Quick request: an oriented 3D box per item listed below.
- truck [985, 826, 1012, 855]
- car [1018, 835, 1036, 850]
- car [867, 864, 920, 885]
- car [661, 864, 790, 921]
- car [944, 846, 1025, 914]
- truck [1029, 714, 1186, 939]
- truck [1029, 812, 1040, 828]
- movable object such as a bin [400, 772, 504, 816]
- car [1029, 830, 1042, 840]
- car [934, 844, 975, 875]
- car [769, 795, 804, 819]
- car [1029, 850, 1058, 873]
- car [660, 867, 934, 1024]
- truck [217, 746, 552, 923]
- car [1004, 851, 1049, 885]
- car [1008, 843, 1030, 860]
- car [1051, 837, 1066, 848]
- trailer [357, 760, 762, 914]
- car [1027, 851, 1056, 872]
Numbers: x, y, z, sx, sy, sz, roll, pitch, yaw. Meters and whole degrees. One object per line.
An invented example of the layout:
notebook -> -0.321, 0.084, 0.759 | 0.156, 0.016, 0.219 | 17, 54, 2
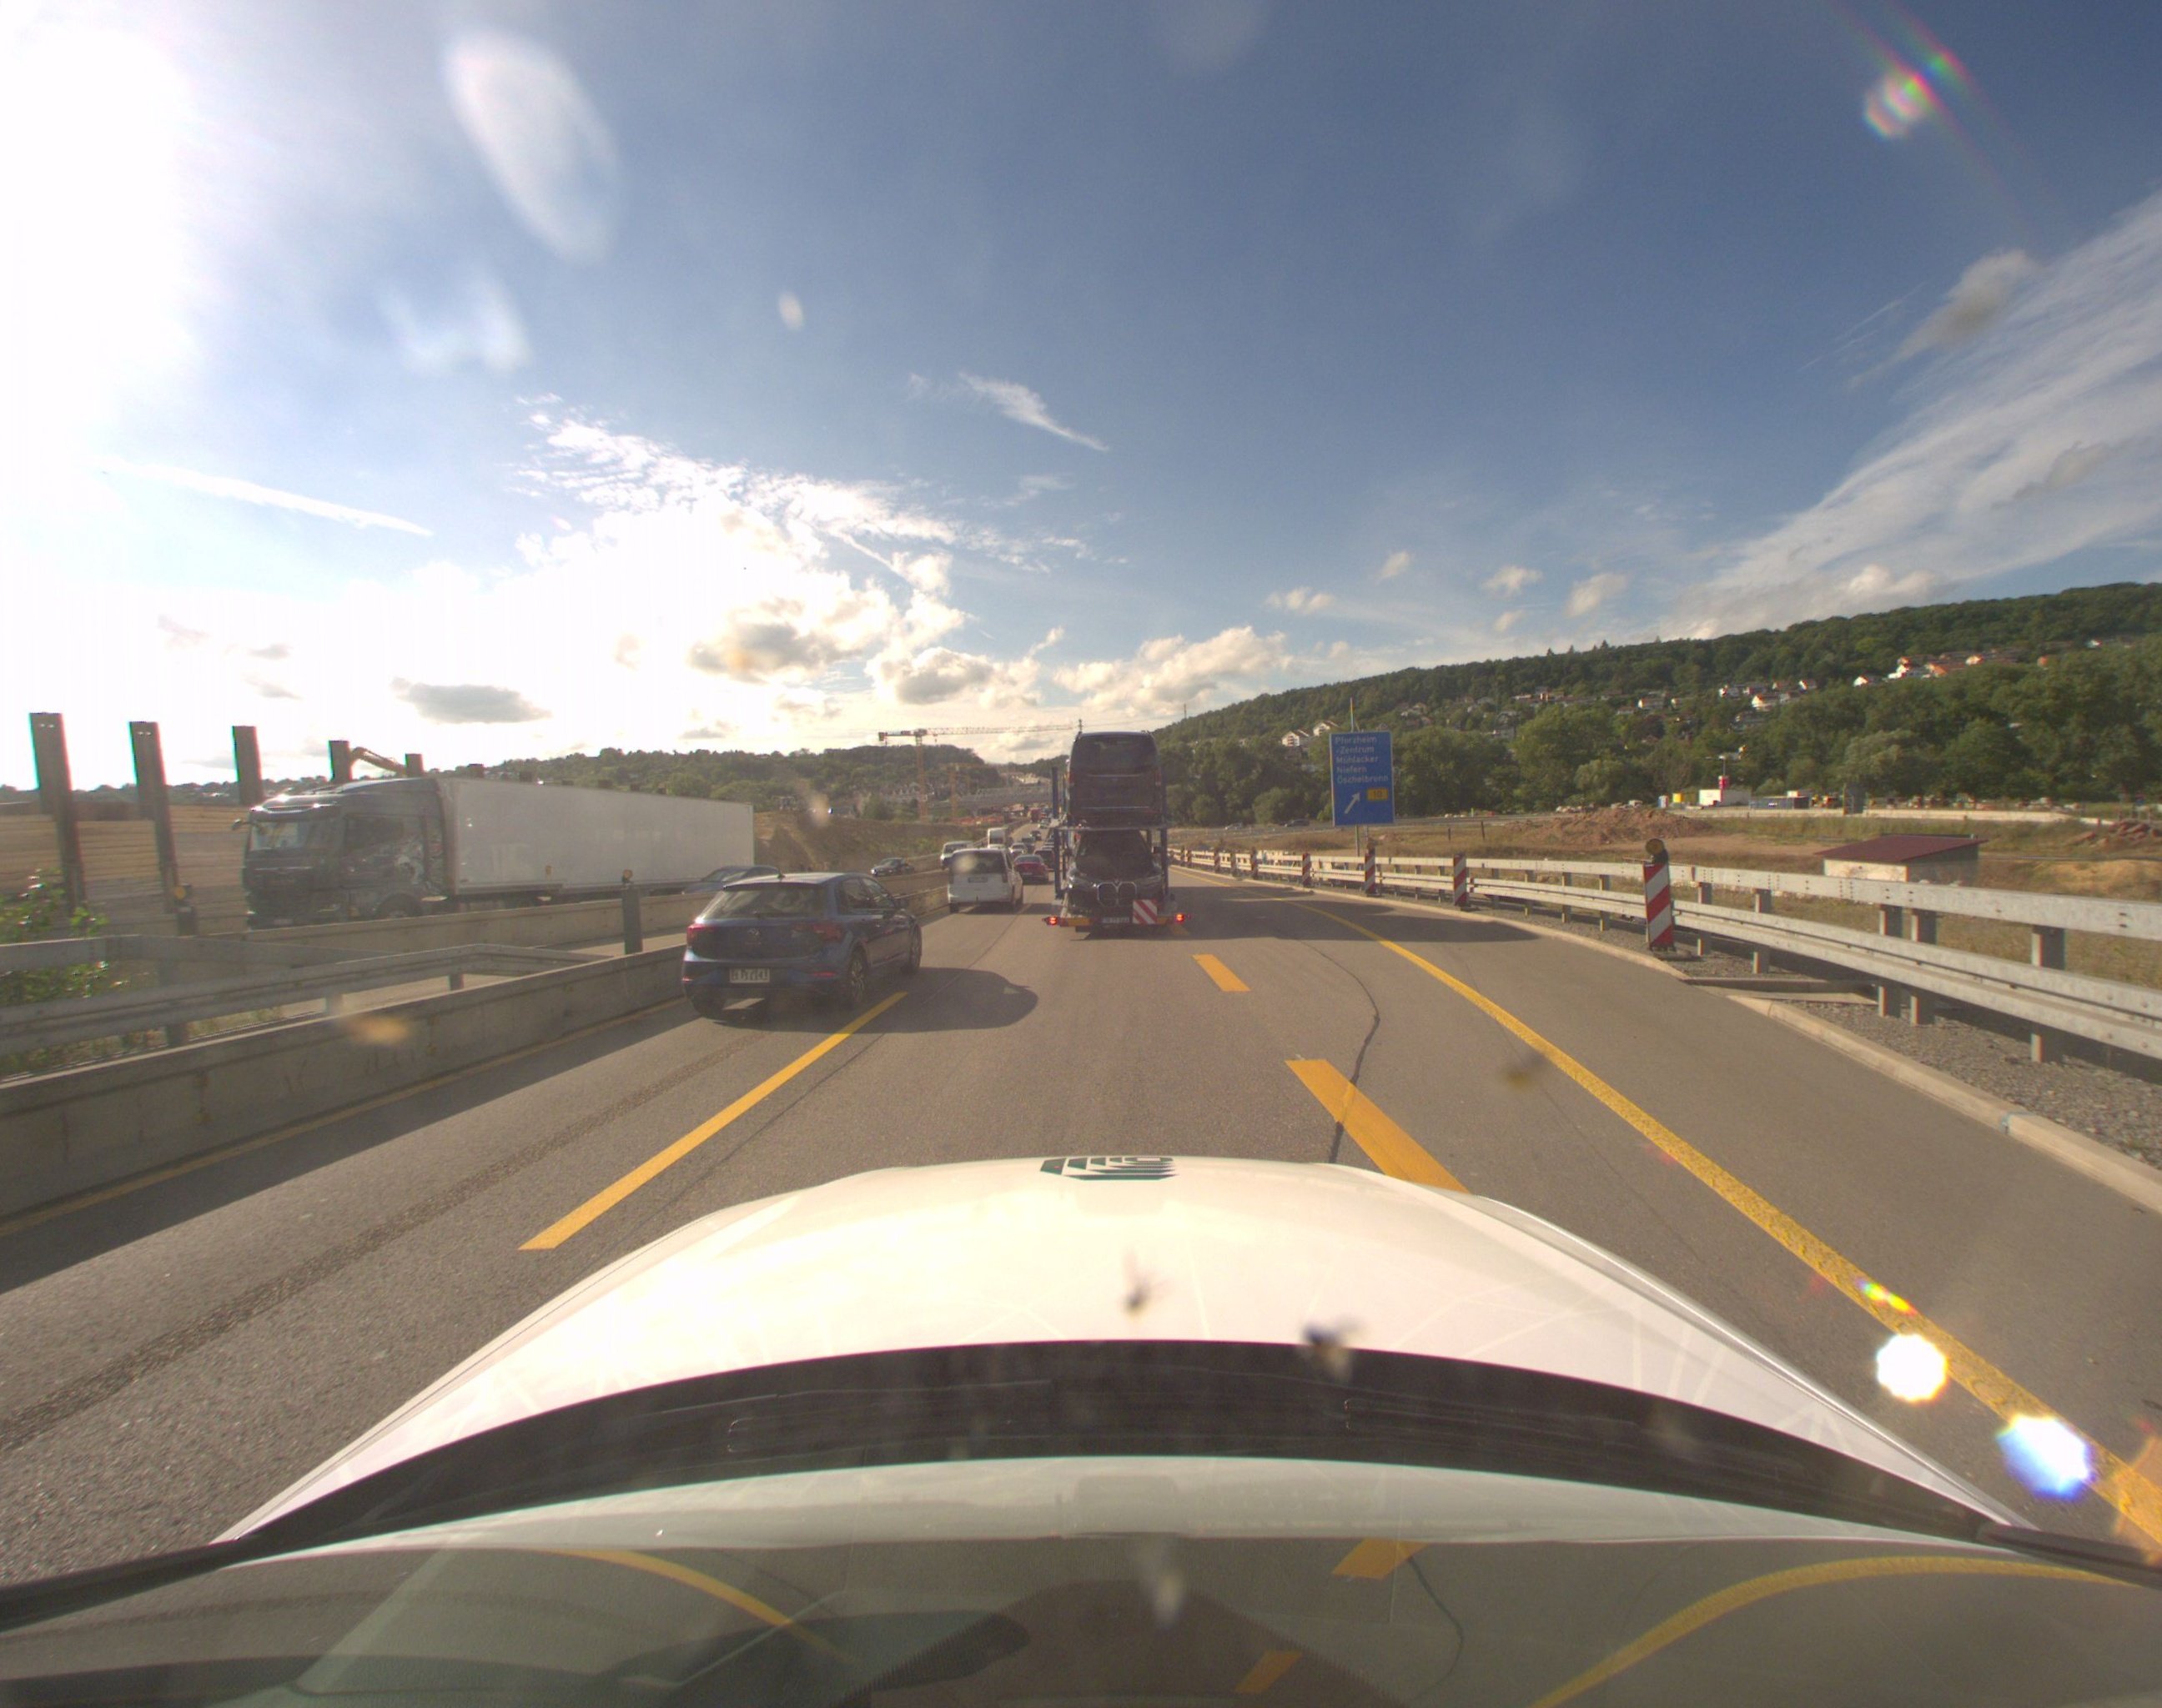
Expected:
truck -> -10.280, -1.650, 102.306 | 2.692, 3.311, 7.534 | -1, -1, -1
car -> -6.938, -1.548, 105.194 | 2.120, 1.765, 5.029 | -3, 2, -1
car -> -12.019, 1.306, 52.563 | 1.908, 1.273, 4.010 | -2, -1, 9
car -> -11.920, 1.237, 27.659 | 1.981, 1.726, 4.135 | -2, -1, 11
car -> -2.768, 0.732, 24.140 | 1.817, 1.792, 4.000 | -1, -1, 1
truck -> 0.692, -0.382, 23.858 | 2.743, 3.955, 18.893 | -1, -1, 1
truck -> -12.835, -9.346, 224.120 | 2.909, 4.386, 6.277 | -1, 1, -4
movable object such as a bin -> -54.993, -5.164, 71.314 | 5.709, 3.270, 4.524 | -2, -1, 11
car -> -7.859, -3.254, 140.245 | 1.847, 1.635, 4.748 | -3, 1, 0
car -> -10.688, 0.470, 69.168 | 2.249, 2.402, 5.870 | -2, -1, 2
car -> -34.233, -5.430, 94.788 | 1.988, 2.140, 5.319 | -7, -1, -1
car -> -2.638, 0.544, 58.340 | 1.988, 1.552, 3.997 | -1, -1, -2
car -> -3.089, 0.910, 9.815 | 1.715, 1.422, 4.001 | -3, -1, 2
truck -> -17.221, -0.375, 20.775 | 2.759, 3.788, 6.036 | -2, -1, 11
car -> -2.747, 0.704, 41.781 | 1.987, 1.556, 4.399 | -1, -1, -1
car -> -6.736, -0.304, 88.571 | 2.120, 1.673, 4.270 | -3, 2, -1
car -> -3.348, -1.698, 121.497 | 1.986, 1.552, 4.000 | -2, -1, 1
trailer -> -16.006, -0.365, 27.547 | 2.803, 3.841, 13.842 | -2, -1, 10
car -> -3.157, 0.610, 65.756 | 1.986, 1.552, 4.000 | -2, -1, 1
